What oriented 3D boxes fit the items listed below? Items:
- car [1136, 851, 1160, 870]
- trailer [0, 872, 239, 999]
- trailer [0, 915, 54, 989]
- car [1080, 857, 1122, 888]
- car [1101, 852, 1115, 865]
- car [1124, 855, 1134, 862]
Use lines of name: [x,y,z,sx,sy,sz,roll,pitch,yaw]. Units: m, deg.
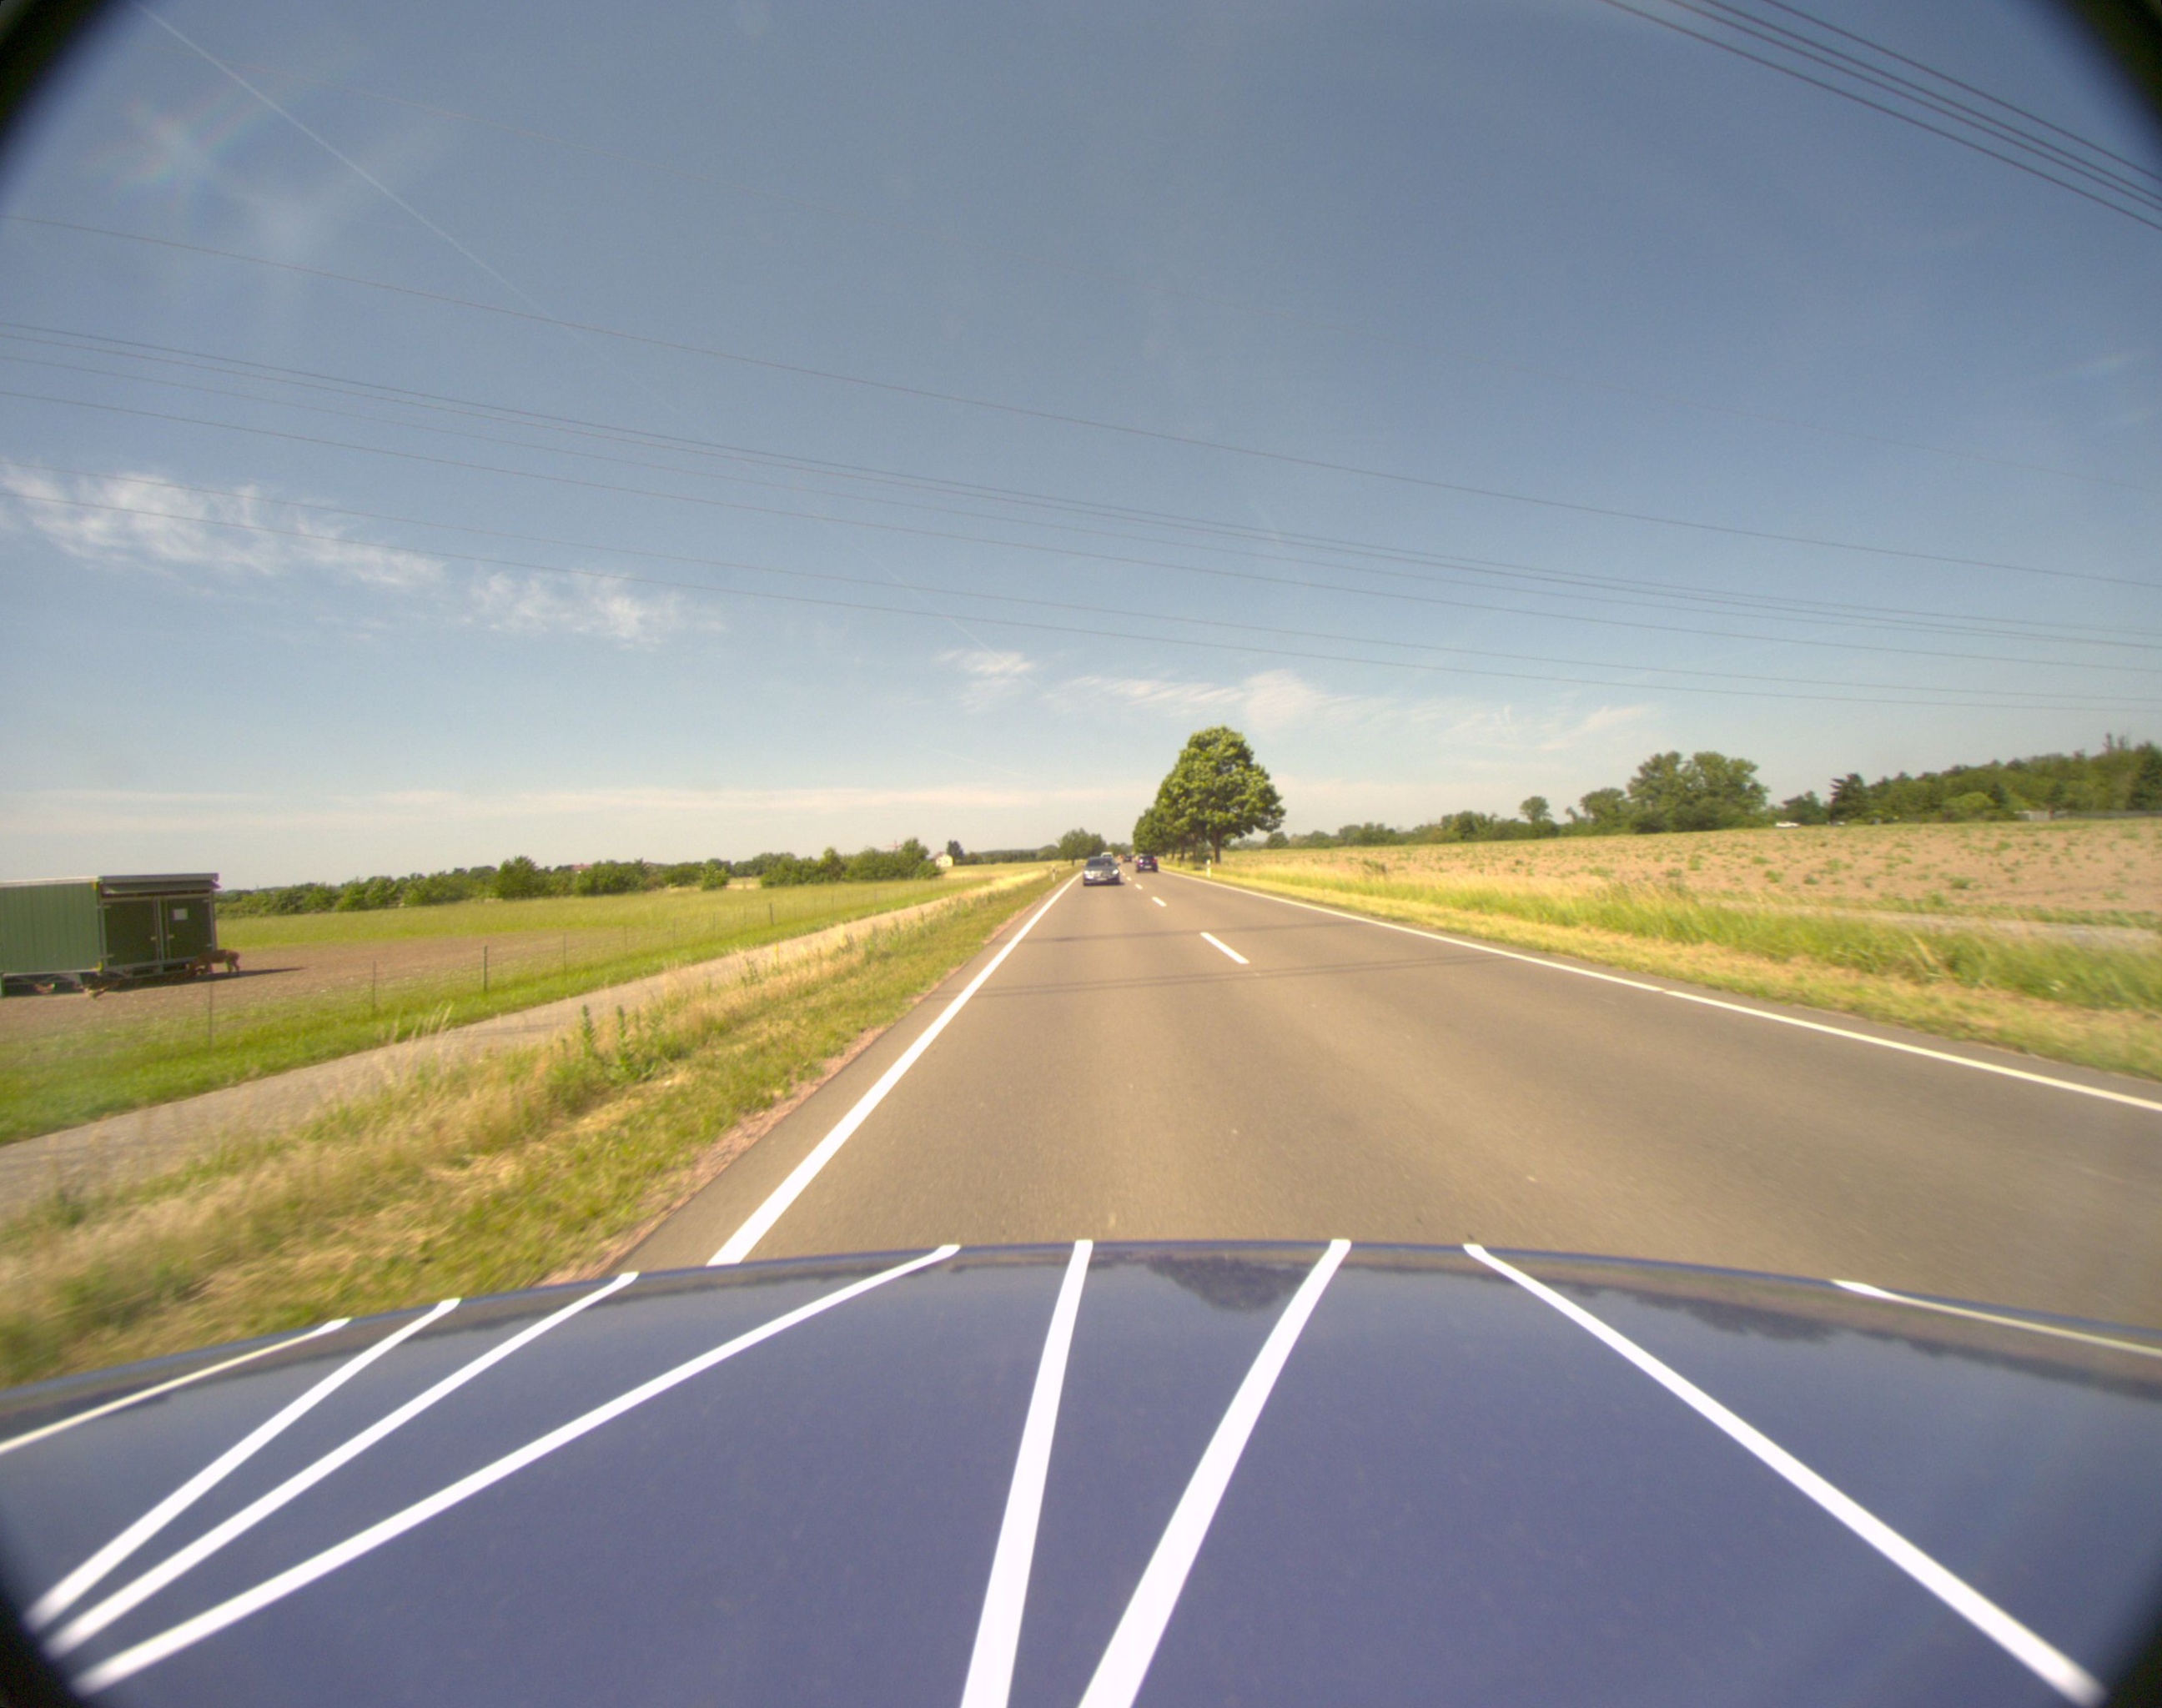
car: [5.567,0.551,63.465,1.738,1.439,4.000,-2,1,2]
trailer: [-34.978,2.682,23.766,13.543,3.455,3.276,-3,0,1]
trailer: [-39.145,3.526,26.629,3.416,2.448,2.037,-3,0,1]
car: [0.967,0.867,37.280,1.953,1.391,4.000,-1,0,1]
car: [4.264,0.720,117.711,1.998,1.907,4.207,-3,0,3]
car: [8.913,0.824,141.858,1.709,1.325,4.001,-3,0,3]
